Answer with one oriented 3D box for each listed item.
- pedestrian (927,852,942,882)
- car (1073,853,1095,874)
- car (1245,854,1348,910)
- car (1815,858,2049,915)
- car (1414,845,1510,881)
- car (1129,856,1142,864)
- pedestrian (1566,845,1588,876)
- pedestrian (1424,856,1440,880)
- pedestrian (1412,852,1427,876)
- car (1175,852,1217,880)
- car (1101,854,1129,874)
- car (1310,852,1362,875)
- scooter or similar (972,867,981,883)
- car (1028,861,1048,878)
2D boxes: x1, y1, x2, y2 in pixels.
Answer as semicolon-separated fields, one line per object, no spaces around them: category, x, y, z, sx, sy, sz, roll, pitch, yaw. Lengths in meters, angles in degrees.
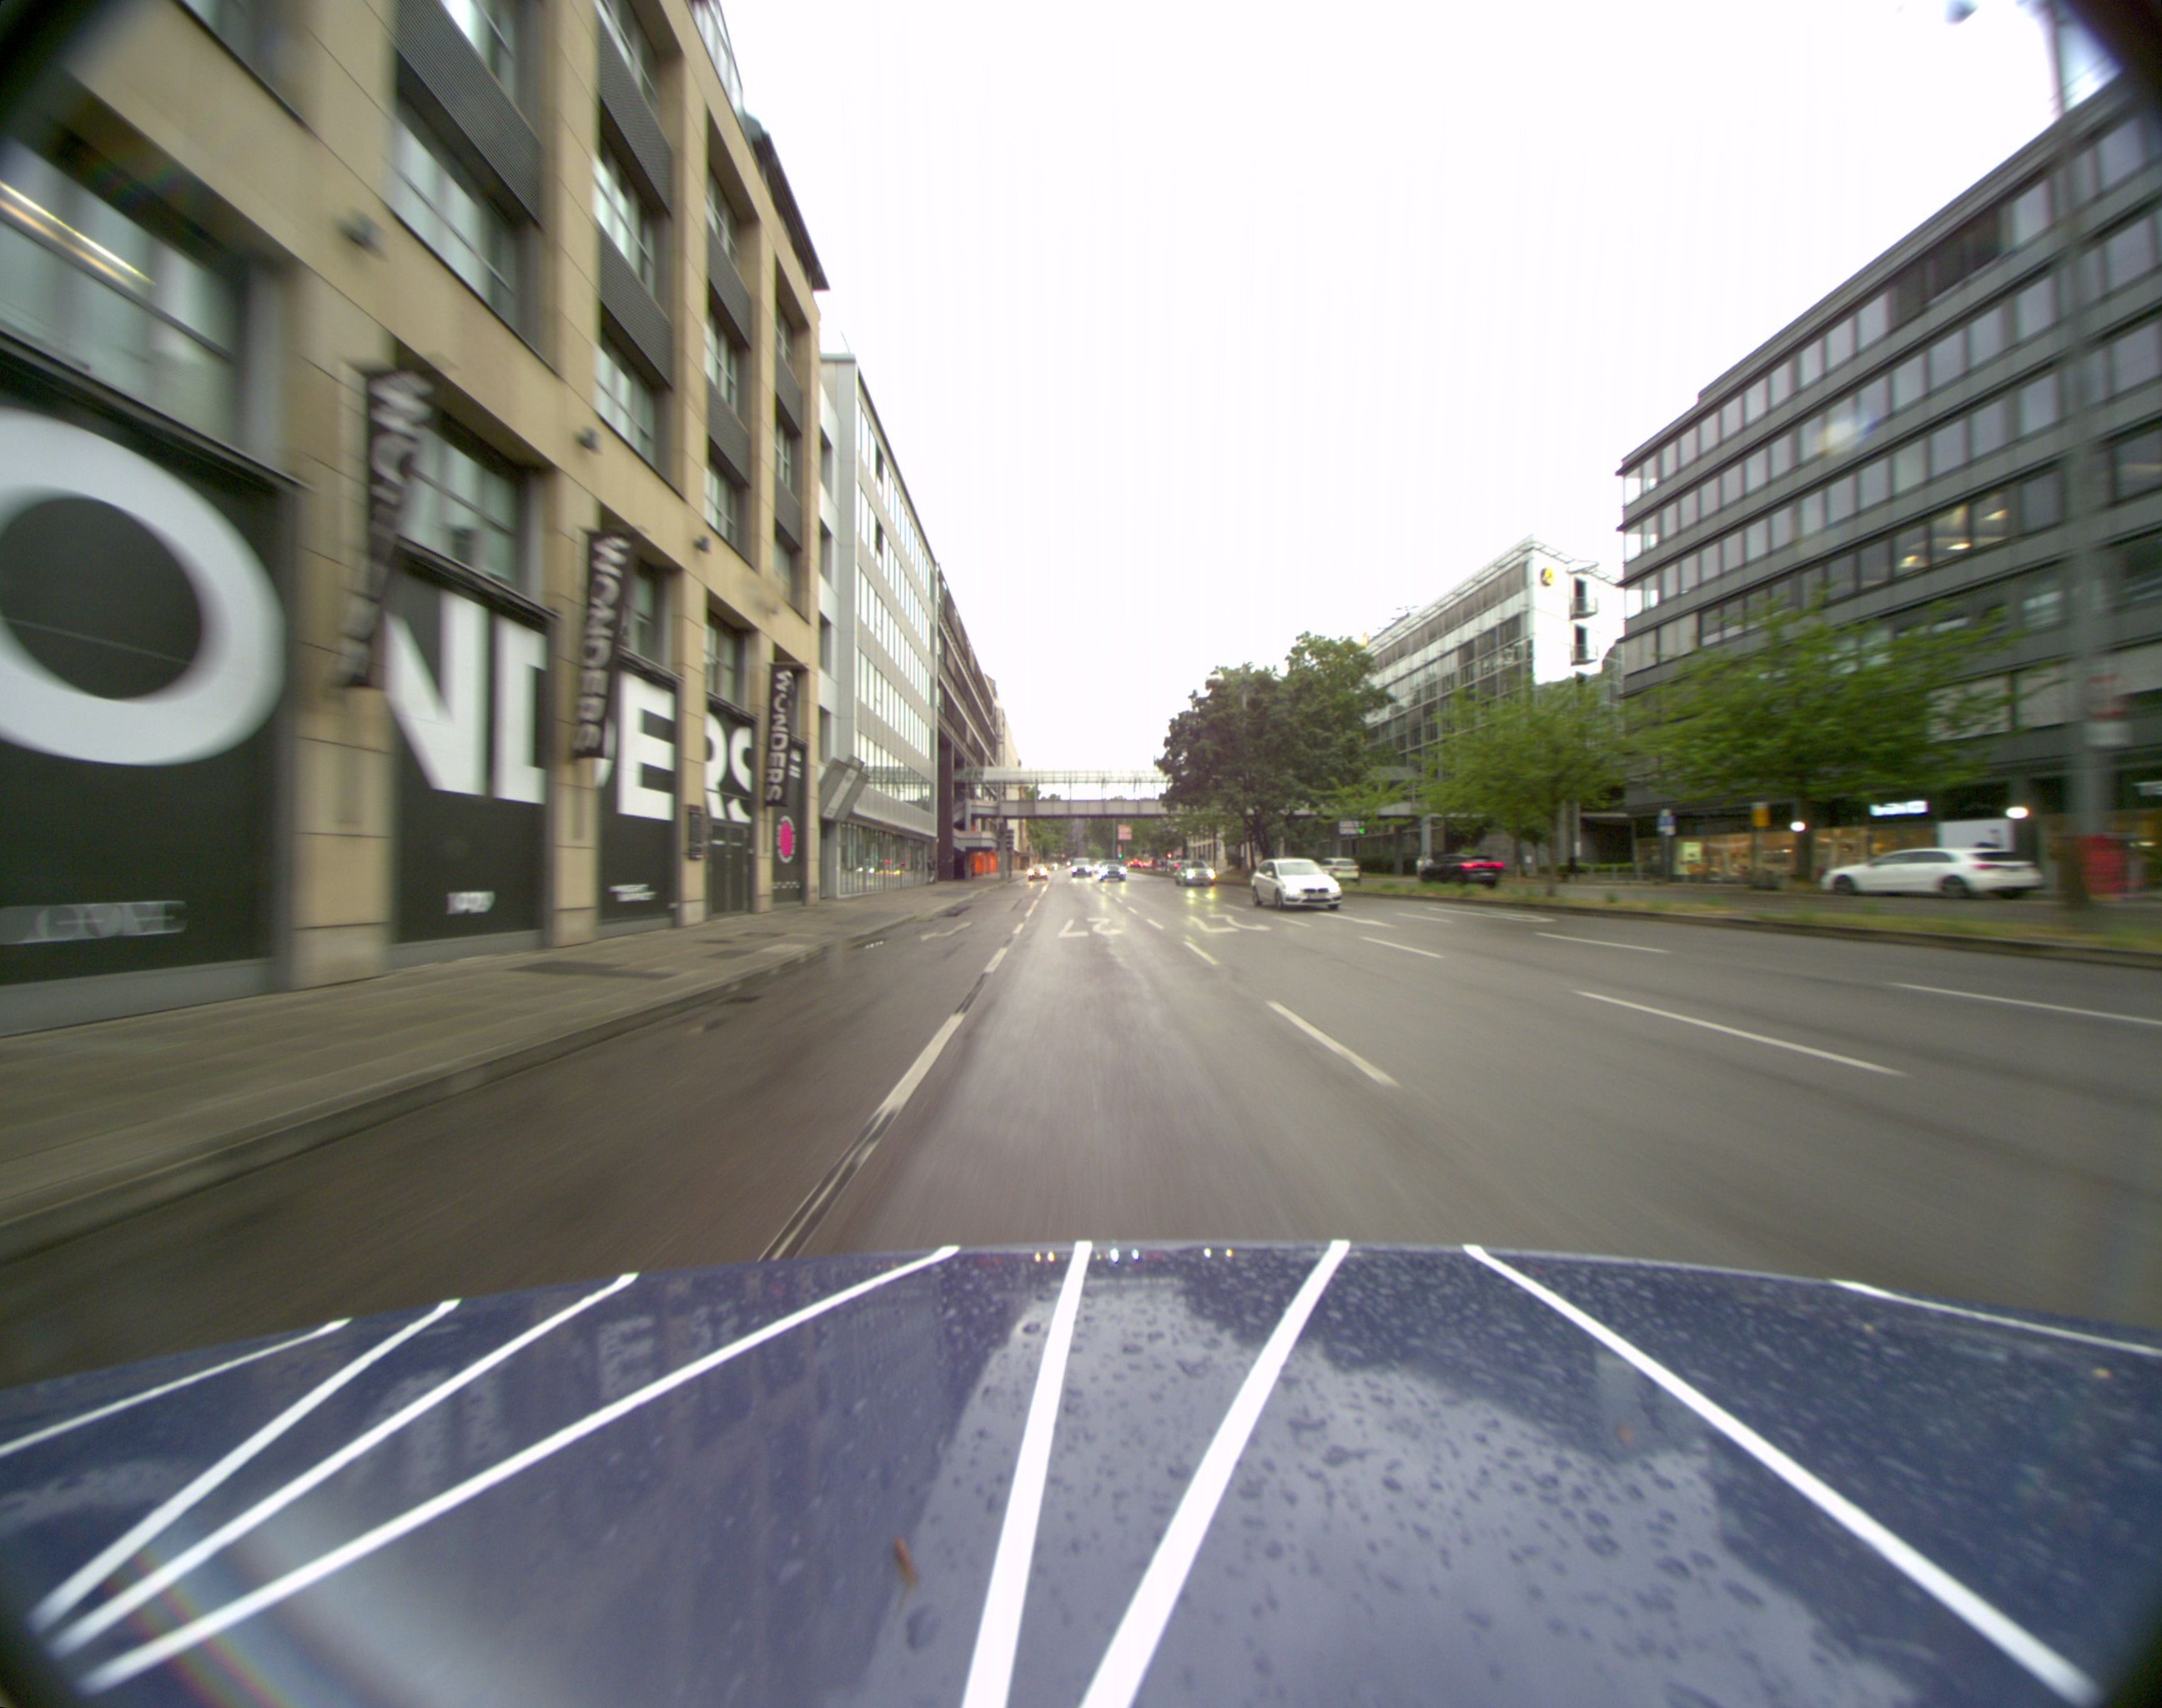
pedestrian;-9.053;0.784;46.876;0.729;1.822;0.764;-1;0;-1
car;0.276;0.971;77.085;2.163;2.014;5.041;-1;-1;-1
car;6.632;0.819;23.872;1.788;1.564;4.287;-1;-1;-3
car;24.504;0.887;22.170;1.814;1.436;4.309;-2;0;-4
car;17.305;0.388;34.777;1.814;1.507;4.716;-1;0;-3
car;9.973;1.073;138.072;1.732;1.303;4.075;-1;0;-5
pedestrian;29.326;0.400;44.913;0.764;1.806;0.729;-1;0;-2
pedestrian;27.623;1.086;59.813;0.729;1.822;0.925;-2;0;-1
pedestrian;26.613;0.782;59.779;0.729;1.788;0.925;-2;0;-1
car;6.724;0.689;44.697;1.788;1.564;3.691;-1;-1;-1
car;2.566;0.789;58.243;1.941;1.426;4.288;-1;-1;0
car;16.486;0.626;49.361;1.732;1.425;4.312;-1;-1;-3
scooter or similar;-8.421;1.682;61.463;0.472;1.266;1.306;-1;0;-18
car;-3.834;1.353;68.227;1.667;1.464;3.483;-1;-1;-3
